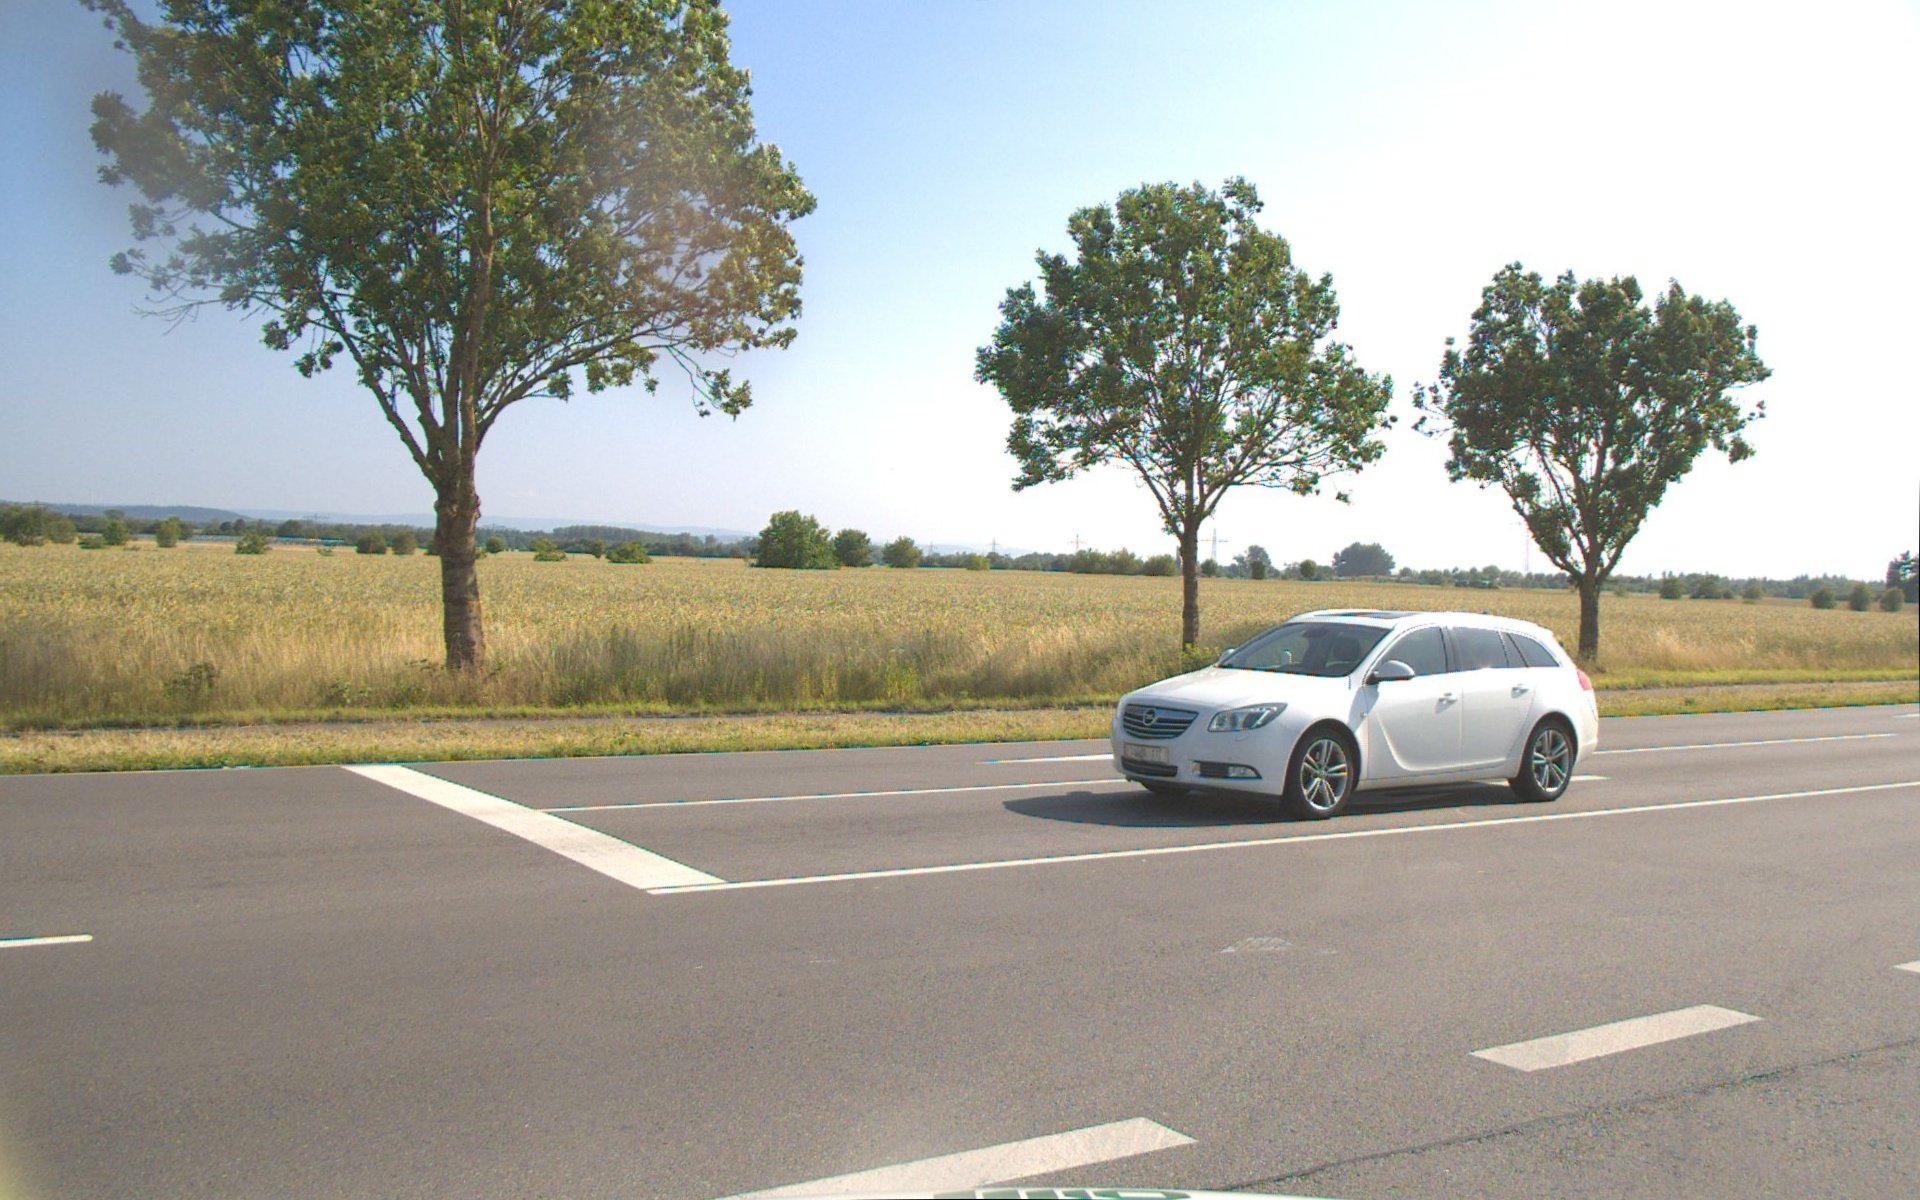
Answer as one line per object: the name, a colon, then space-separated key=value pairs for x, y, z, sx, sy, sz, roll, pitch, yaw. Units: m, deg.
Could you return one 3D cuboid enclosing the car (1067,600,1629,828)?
car: x=3.221 y=0.814 z=13.284 sx=4.653 sy=1.518 sz=1.744 roll=1 pitch=0 yaw=-35
